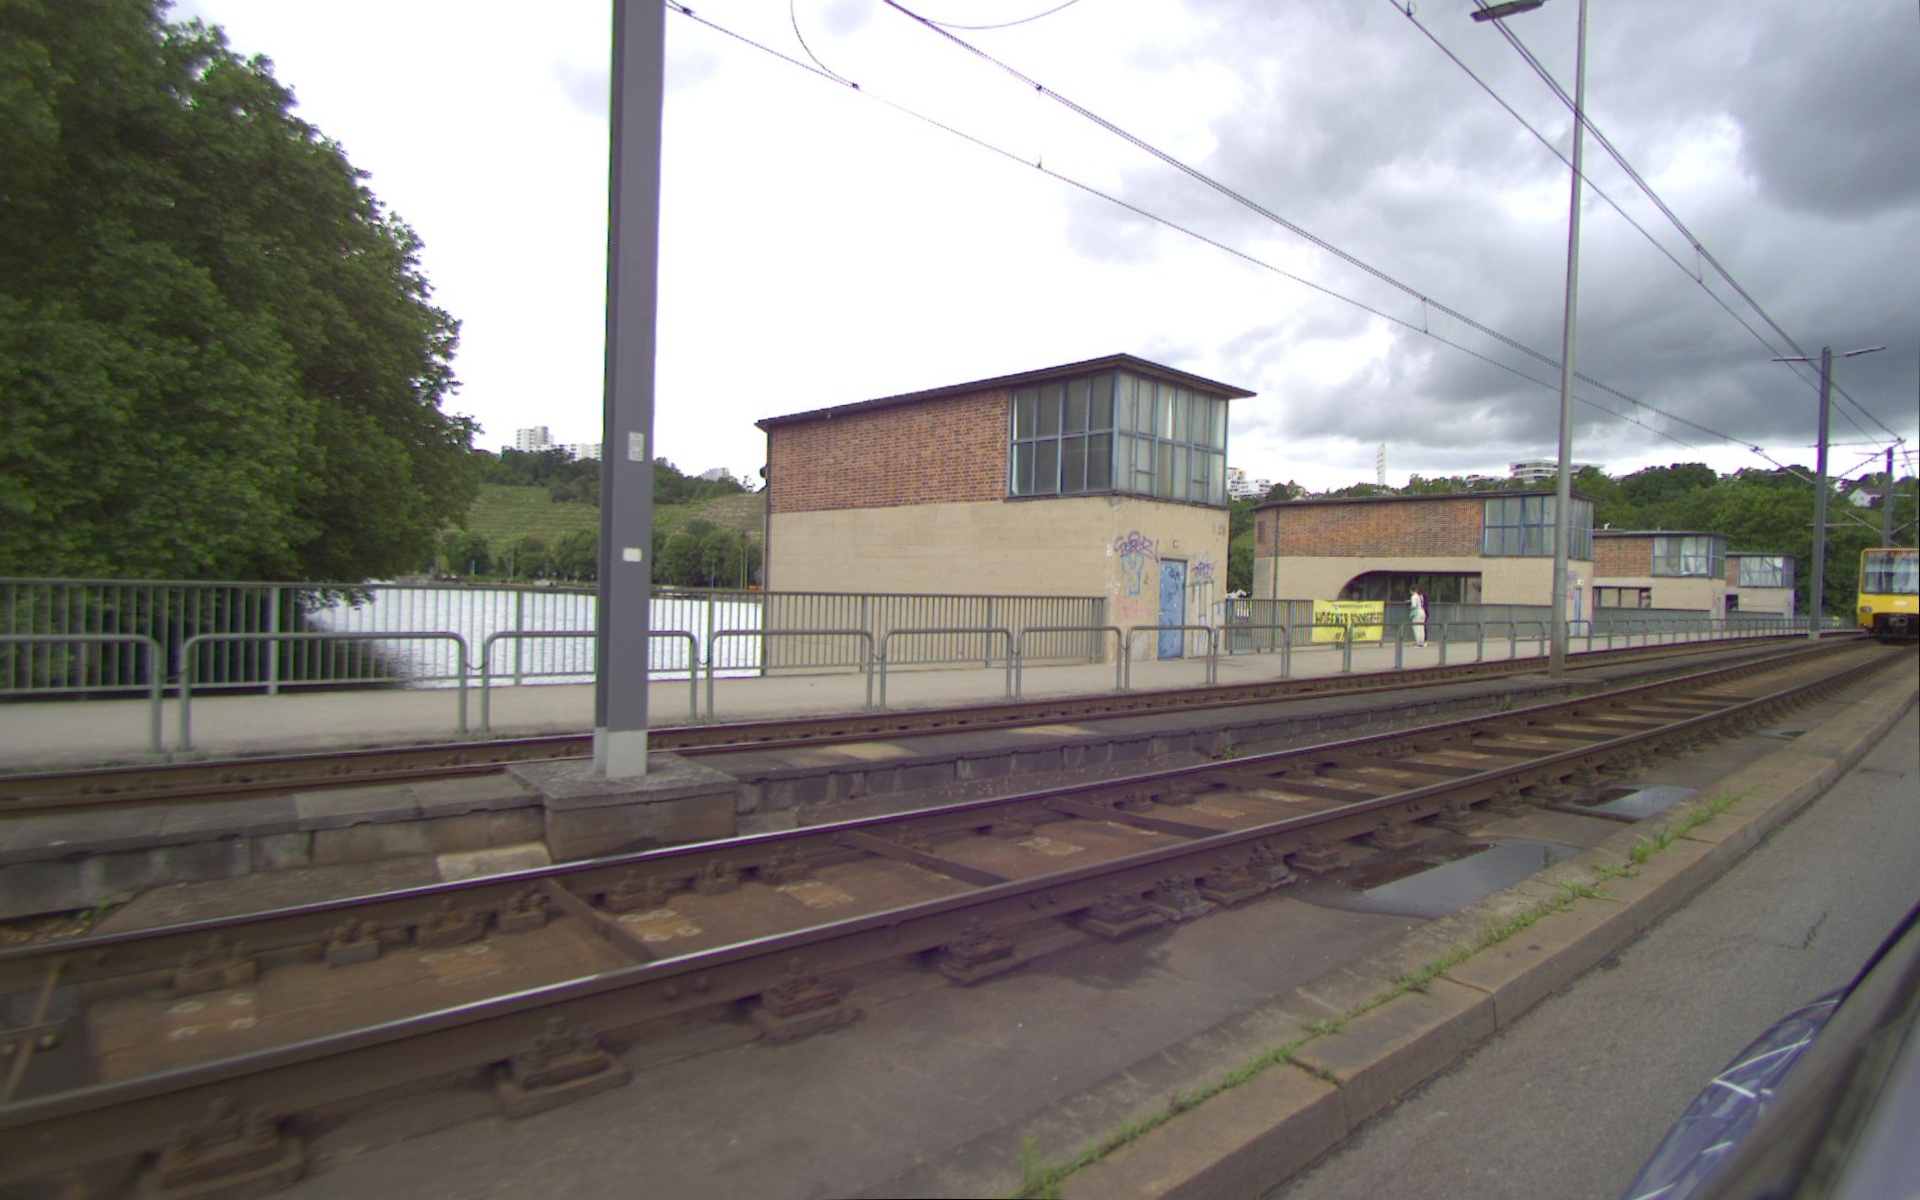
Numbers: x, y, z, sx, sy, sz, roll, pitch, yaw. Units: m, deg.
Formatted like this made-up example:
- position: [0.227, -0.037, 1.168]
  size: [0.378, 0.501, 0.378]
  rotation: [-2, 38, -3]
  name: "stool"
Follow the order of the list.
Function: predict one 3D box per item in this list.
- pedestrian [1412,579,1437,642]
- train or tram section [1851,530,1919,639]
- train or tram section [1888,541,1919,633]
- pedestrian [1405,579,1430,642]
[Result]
- position: [12.695, 0.279, 27.684]
  size: [0.510, 1.686, 0.347]
  rotation: [1, 0, 43]
  name: "pedestrian"
- position: [38.263, -0.557, 40.226]
  size: [9.277, 3.967, 3.028]
  rotation: [0, 1, -41]
  name: "train or tram section"
- position: [45.266, -0.509, 46.339]
  size: [9.277, 3.967, 3.028]
  rotation: [0, 1, -41]
  name: "train or tram section"
- position: [12.371, 0.280, 27.344]
  size: [0.510, 1.686, 0.347]
  rotation: [1, 0, 43]
  name: "pedestrian"
